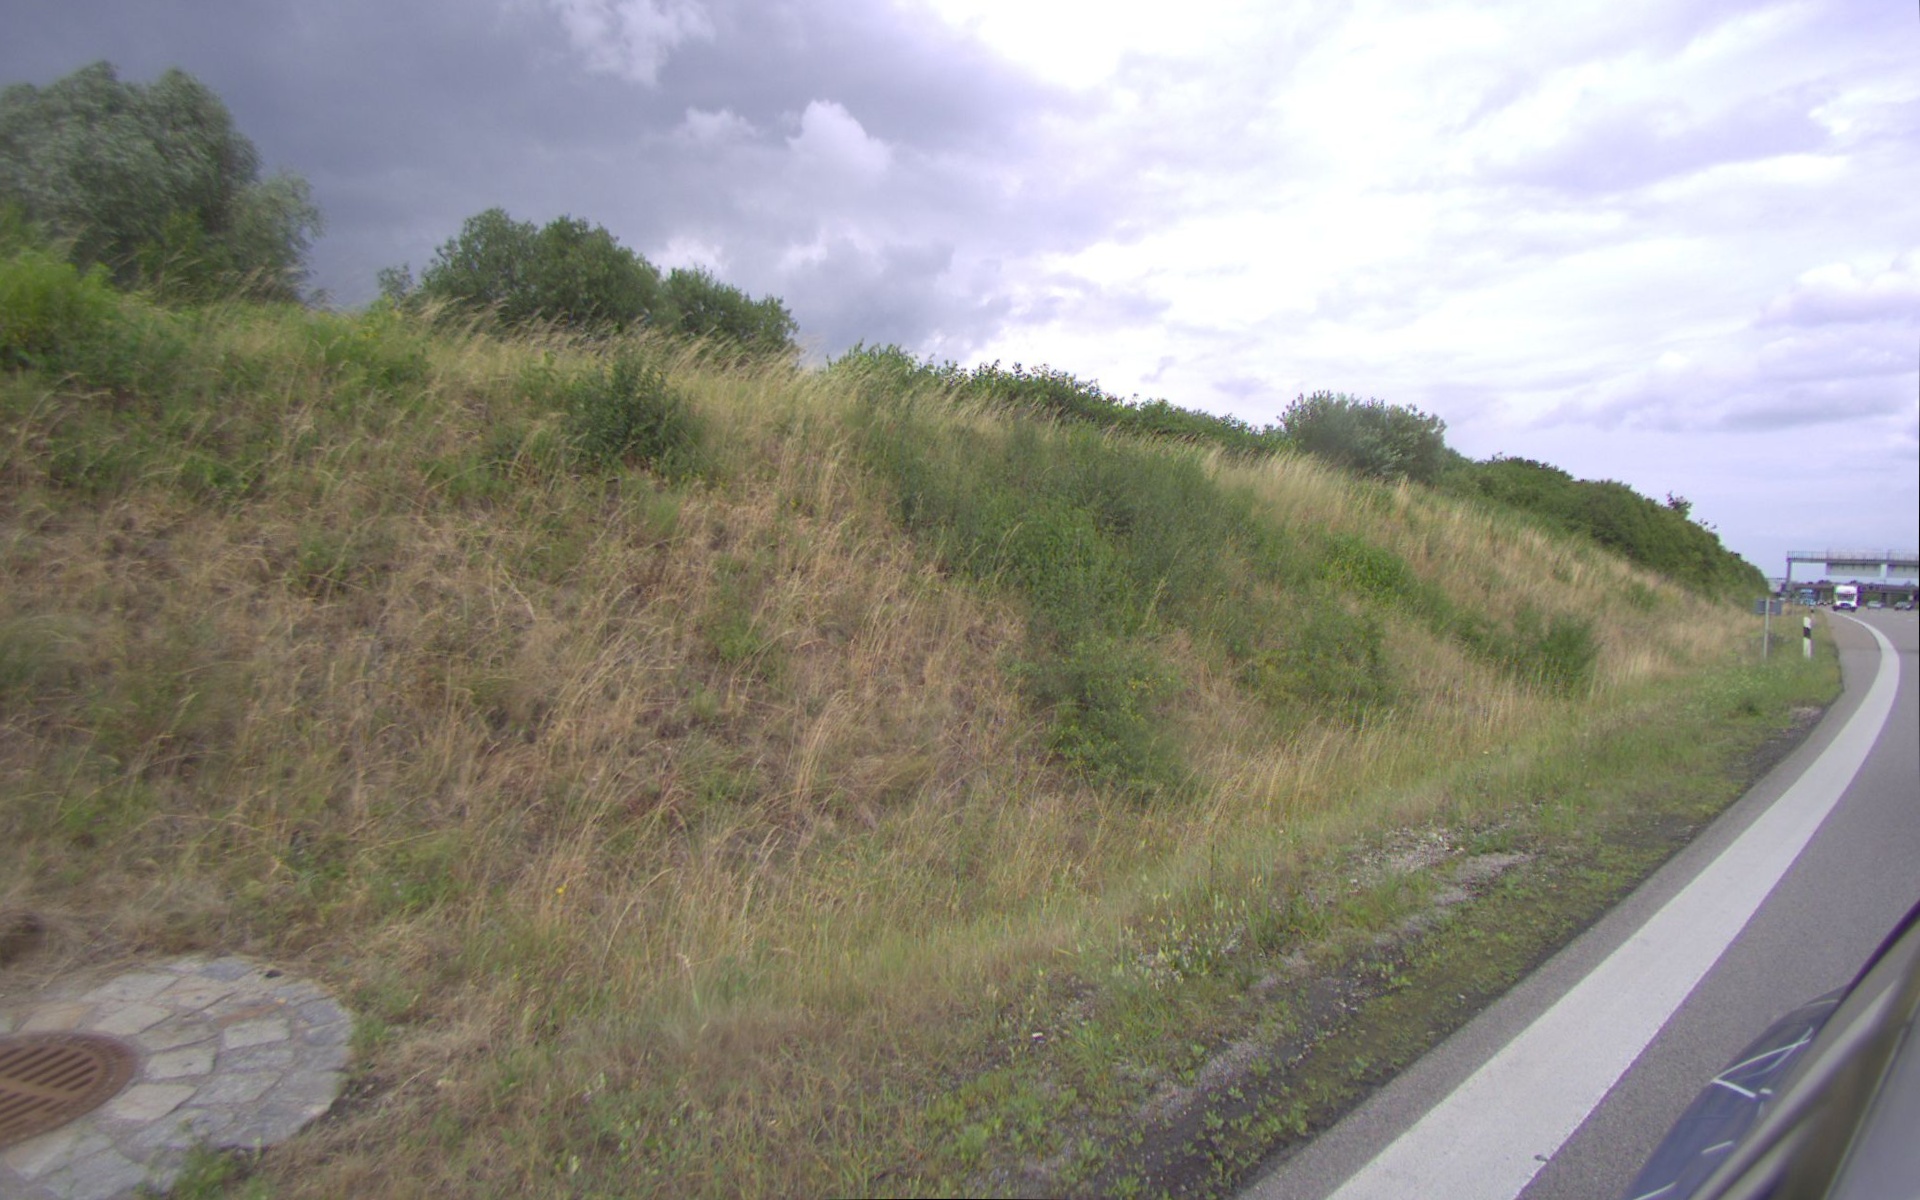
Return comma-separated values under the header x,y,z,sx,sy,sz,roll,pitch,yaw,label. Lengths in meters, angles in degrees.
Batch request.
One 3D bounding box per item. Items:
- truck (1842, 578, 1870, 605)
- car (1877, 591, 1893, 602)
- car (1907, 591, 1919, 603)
x,y,z,sx,sy,sz,roll,pitch,yaw,label
111.961,-1.038,126.497,2.440,3.275,7.084,2,2,41,truck
170.462,-0.641,186.494,3.935,2.039,1.995,-1,1,-45,car
169.393,-0.559,179.444,3.933,2.038,1.996,0,2,-44,car
